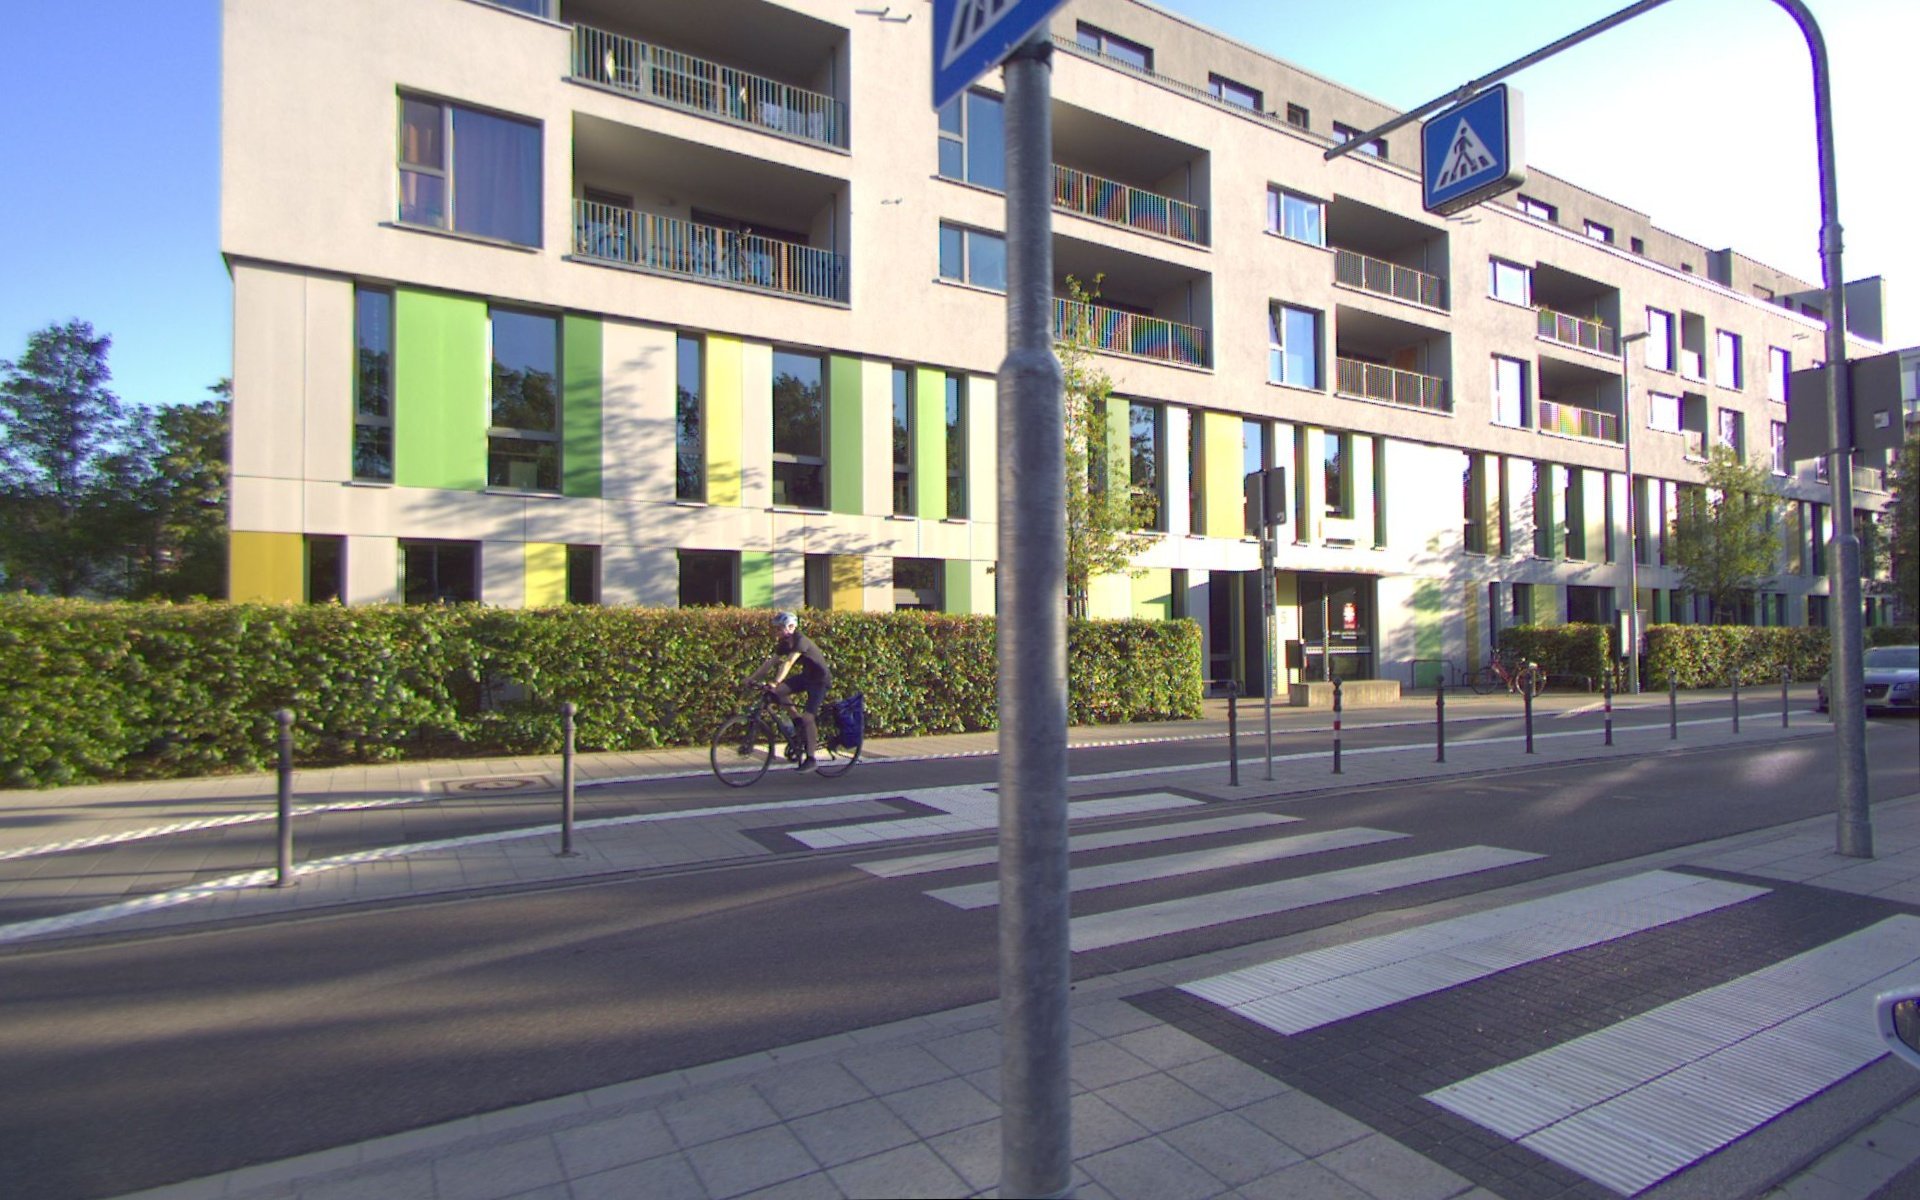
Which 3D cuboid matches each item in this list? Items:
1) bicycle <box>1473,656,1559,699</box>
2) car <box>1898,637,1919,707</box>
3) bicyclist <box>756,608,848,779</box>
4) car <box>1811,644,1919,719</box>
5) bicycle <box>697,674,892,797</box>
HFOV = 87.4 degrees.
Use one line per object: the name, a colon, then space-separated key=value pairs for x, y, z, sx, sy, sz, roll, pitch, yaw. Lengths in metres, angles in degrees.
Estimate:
bicycle: x=13.196 y=1.823 z=23.885 sx=0.611 sy=0.930 sz=1.742 roll=1 pitch=-1 yaw=-32
car: x=23.538 y=1.625 z=23.229 sx=4.071 sy=1.554 sz=1.732 roll=1 pitch=-3 yaw=-33
bicyclist: x=-1.618 y=0.932 z=10.264 sx=0.749 sy=1.666 sz=0.623 roll=1 pitch=-3 yaw=-31
car: x=19.367 y=1.596 z=20.492 sx=4.346 sy=1.374 sz=1.734 roll=1 pitch=-3 yaw=-31
bicycle: x=-1.662 y=1.332 z=10.216 sx=1.862 sy=1.092 sz=0.630 roll=1 pitch=-3 yaw=-32
